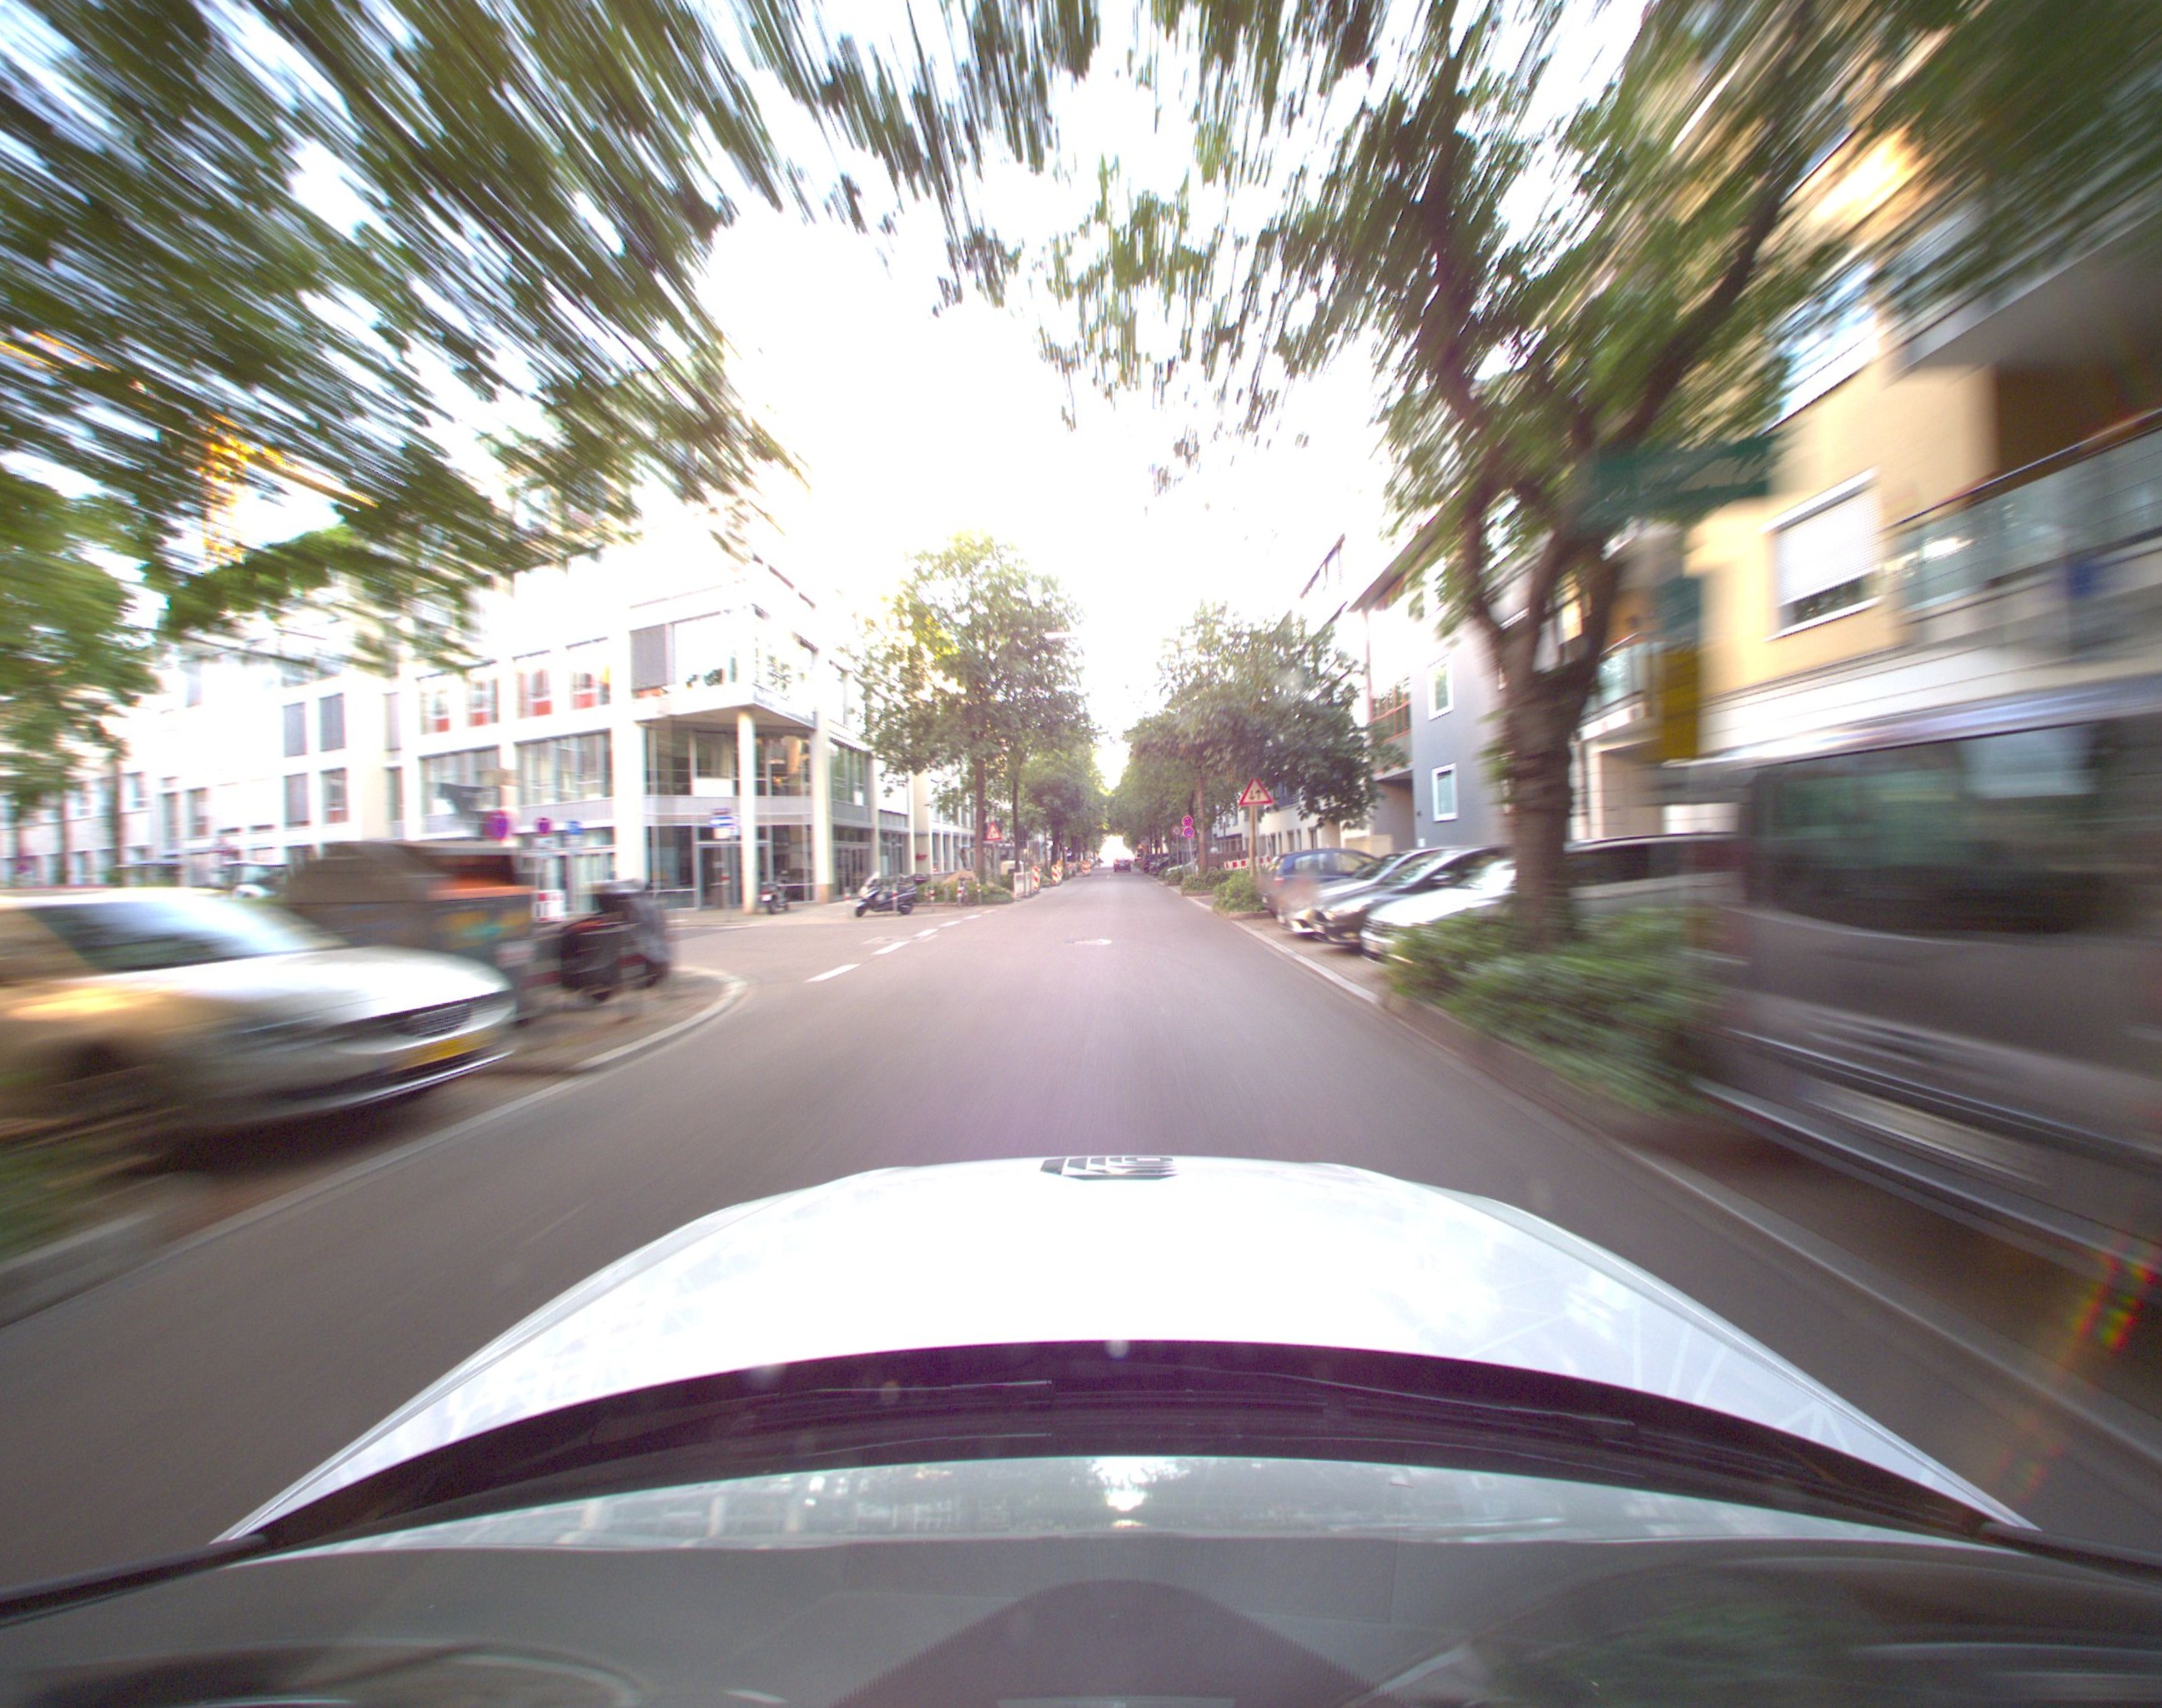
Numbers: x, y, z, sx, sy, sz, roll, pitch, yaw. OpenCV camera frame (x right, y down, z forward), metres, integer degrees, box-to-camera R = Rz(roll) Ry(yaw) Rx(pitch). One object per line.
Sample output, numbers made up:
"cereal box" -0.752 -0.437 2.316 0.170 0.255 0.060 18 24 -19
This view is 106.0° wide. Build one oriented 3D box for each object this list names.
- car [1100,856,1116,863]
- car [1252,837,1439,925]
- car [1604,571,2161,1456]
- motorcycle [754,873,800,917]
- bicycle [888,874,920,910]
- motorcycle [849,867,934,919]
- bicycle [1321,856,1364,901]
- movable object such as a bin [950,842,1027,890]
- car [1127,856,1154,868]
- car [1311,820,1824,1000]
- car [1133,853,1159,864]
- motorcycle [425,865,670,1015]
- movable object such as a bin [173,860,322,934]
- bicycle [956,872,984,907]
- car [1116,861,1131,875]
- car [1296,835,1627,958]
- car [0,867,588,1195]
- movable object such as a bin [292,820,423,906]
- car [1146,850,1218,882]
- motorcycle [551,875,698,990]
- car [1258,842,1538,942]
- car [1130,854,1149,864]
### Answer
"car" 7.189 1.428 216.620 3.981 1.914 1.774 -2 0 -6
"car" 5.452 0.543 17.115 3.337 1.526 1.747 -4 0 3
"car" 4.872 0.182 2.836 4.602 2.133 2.038 -6 -1 2
"motorcycle" -9.833 1.290 26.428 0.612 1.274 2.127 -2 1 2
"bicycle" -6.130 1.303 28.288 0.598 1.118 1.801 -2 0 3
"motorcycle" -5.810 1.178 25.037 2.391 1.440 0.793 -2 0 -38
"bicycle" 7.509 0.687 23.466 0.723 1.172 1.501 -6 -1 3
"movable object such as a bin" -4.855 0.647 43.366 3.653 2.333 2.583 -2 0 0
"car" 11.223 1.523 152.689 4.952 2.087 1.739 -2 -1 2
"car" 5.301 0.581 9.361 4.780 1.704 1.836 -2 0 0
"car" 10.429 0.742 130.831 3.975 1.597 1.999 -2 0 -1
"motorcycle" -5.764 0.912 8.860 2.207 1.494 0.692 -2 -1 3
"movable object such as a bin" -31.950 1.648 31.206 5.474 2.596 2.186 -3 -1 24
"bicycle" -3.907 1.246 28.757 0.598 1.118 1.801 -2 0 3
"car" 4.560 1.447 87.246 1.494 1.416 3.716 -2 0 3
"car" 5.485 0.588 12.152 4.054 1.563 1.853 -2 0 0
"car" -5.957 0.884 5.092 4.480 1.581 2.056 0 -1 3
"movable object such as a bin" -24.070 0.309 27.084 4.059 2.634 1.813 -3 0 26
"car" 7.295 0.890 59.151 4.952 2.087 1.739 -2 -1 2
"motorcycle" -6.104 1.002 10.851 2.195 1.374 0.728 -2 -1 33
"car" 5.563 0.628 14.594 4.274 1.508 1.868 -2 0 -6
"car" 12.641 1.045 174.856 3.969 2.013 2.002 -2 0 4
